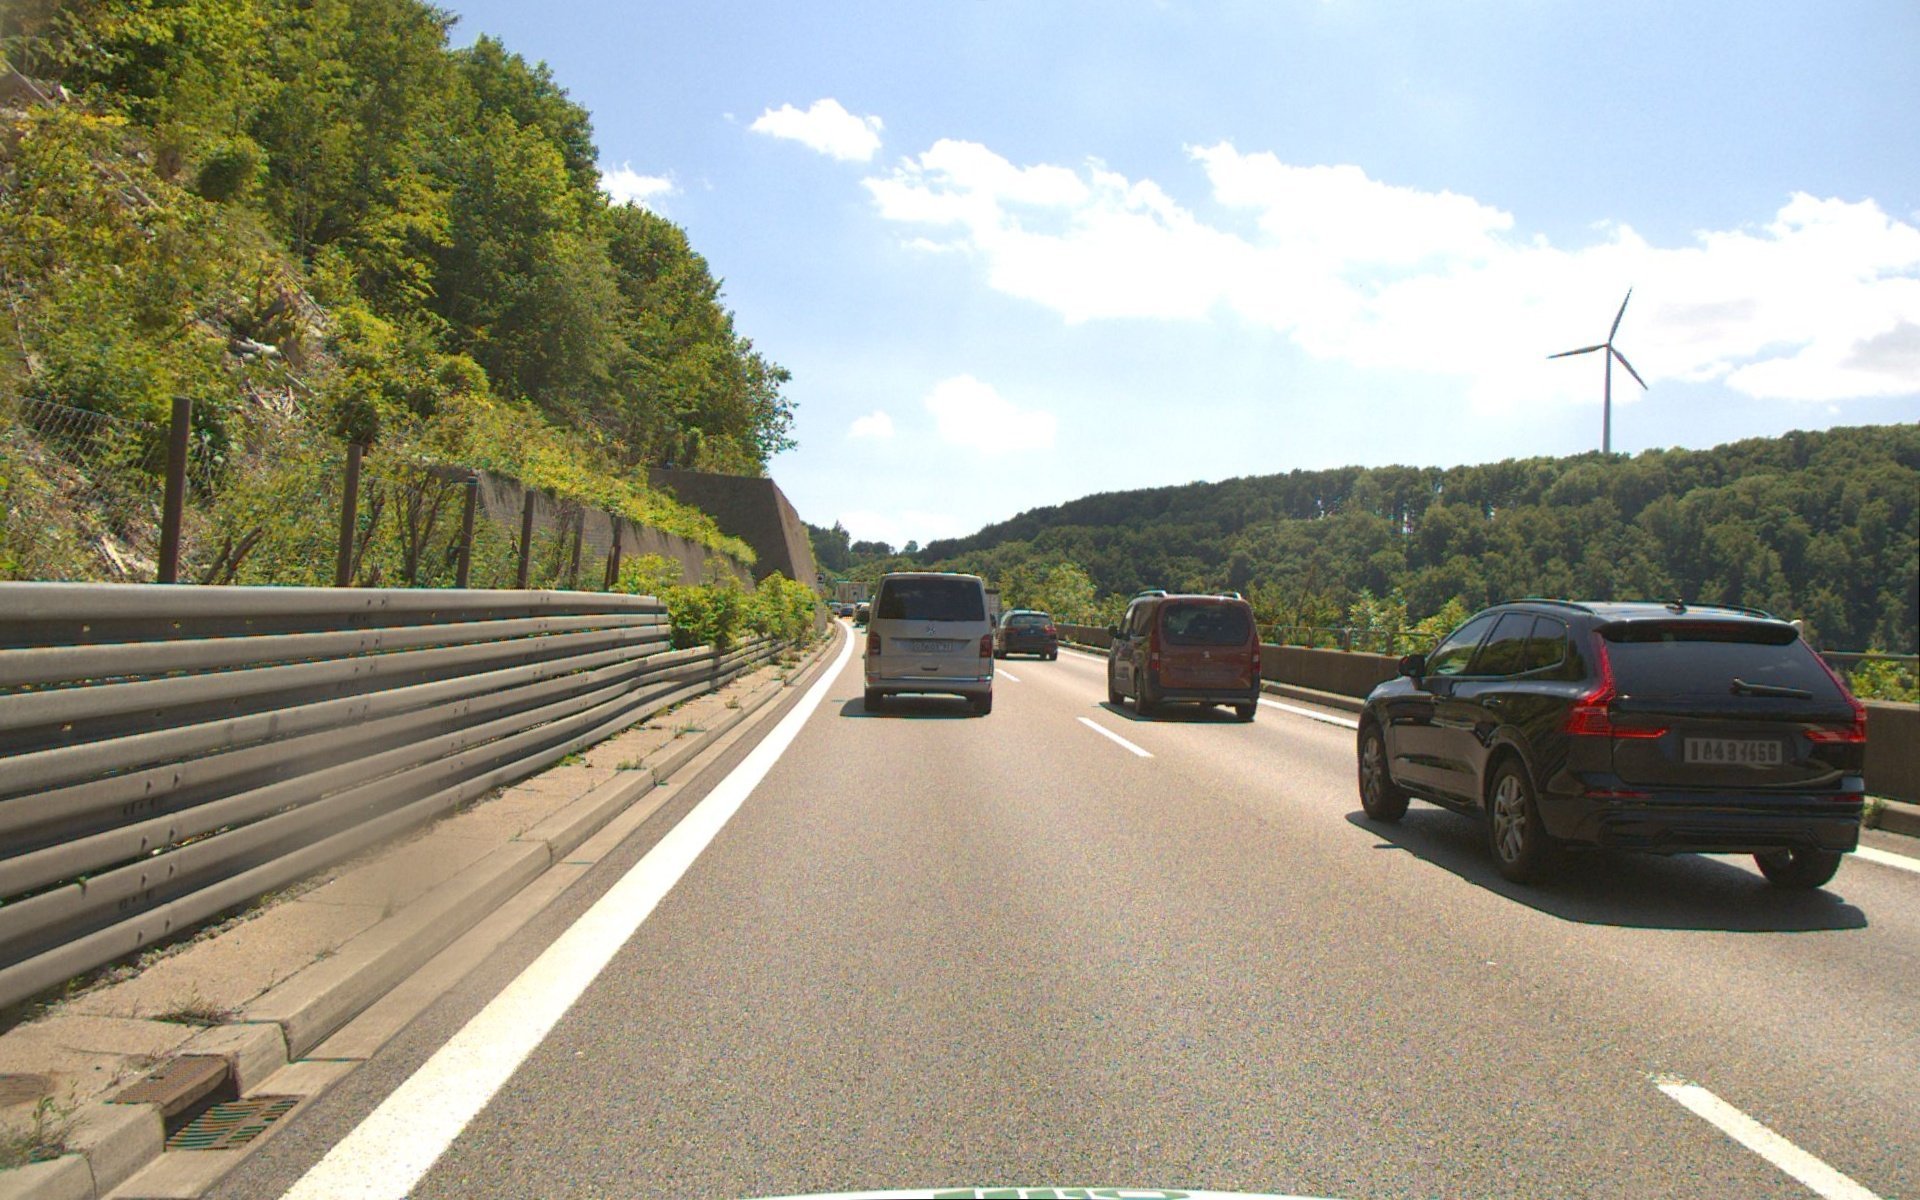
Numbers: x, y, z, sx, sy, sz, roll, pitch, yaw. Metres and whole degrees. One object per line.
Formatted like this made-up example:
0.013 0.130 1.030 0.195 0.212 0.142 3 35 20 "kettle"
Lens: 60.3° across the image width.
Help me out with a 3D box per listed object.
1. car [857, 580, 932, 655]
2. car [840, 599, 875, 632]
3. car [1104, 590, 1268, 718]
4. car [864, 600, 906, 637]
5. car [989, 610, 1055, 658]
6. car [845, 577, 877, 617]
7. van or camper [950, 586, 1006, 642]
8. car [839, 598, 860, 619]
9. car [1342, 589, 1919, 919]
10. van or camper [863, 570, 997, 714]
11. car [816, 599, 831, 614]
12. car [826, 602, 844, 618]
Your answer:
-1.821 0.501 47.372 1.952 2.049 4.000 0 -1 0 "car"
-6.384 0.956 103.133 1.953 1.948 3.998 2 0 -2 "car"
3.411 0.806 25.851 1.796 1.815 4.674 0 -1 -2 "car"
-3.979 0.945 87.105 1.955 1.849 3.994 2 0 -6 "car"
1.861 1.017 50.564 1.733 1.400 3.590 0 0 -3 "car"
-12.759 -0.412 212.630 3.963 4.957 10.101 1 0 -4 "car"
0.817 0.651 78.562 2.219 2.596 4.732 0 -1 -5 "van or camper"
-10.910 0.887 163.815 1.953 2.049 3.998 0 -1 -2 "car"
4.047 0.786 10.933 1.798 1.662 4.660 0 1 -2 "car"
-0.479 0.611 24.963 1.838 1.984 4.292 0 -1 -2 "van or camper"
-16.845 0.788 203.811 1.810 1.780 3.995 1 0 -6 "car"
-13.744 1.083 181.872 1.809 1.780 3.997 1 0 -4 "car"
